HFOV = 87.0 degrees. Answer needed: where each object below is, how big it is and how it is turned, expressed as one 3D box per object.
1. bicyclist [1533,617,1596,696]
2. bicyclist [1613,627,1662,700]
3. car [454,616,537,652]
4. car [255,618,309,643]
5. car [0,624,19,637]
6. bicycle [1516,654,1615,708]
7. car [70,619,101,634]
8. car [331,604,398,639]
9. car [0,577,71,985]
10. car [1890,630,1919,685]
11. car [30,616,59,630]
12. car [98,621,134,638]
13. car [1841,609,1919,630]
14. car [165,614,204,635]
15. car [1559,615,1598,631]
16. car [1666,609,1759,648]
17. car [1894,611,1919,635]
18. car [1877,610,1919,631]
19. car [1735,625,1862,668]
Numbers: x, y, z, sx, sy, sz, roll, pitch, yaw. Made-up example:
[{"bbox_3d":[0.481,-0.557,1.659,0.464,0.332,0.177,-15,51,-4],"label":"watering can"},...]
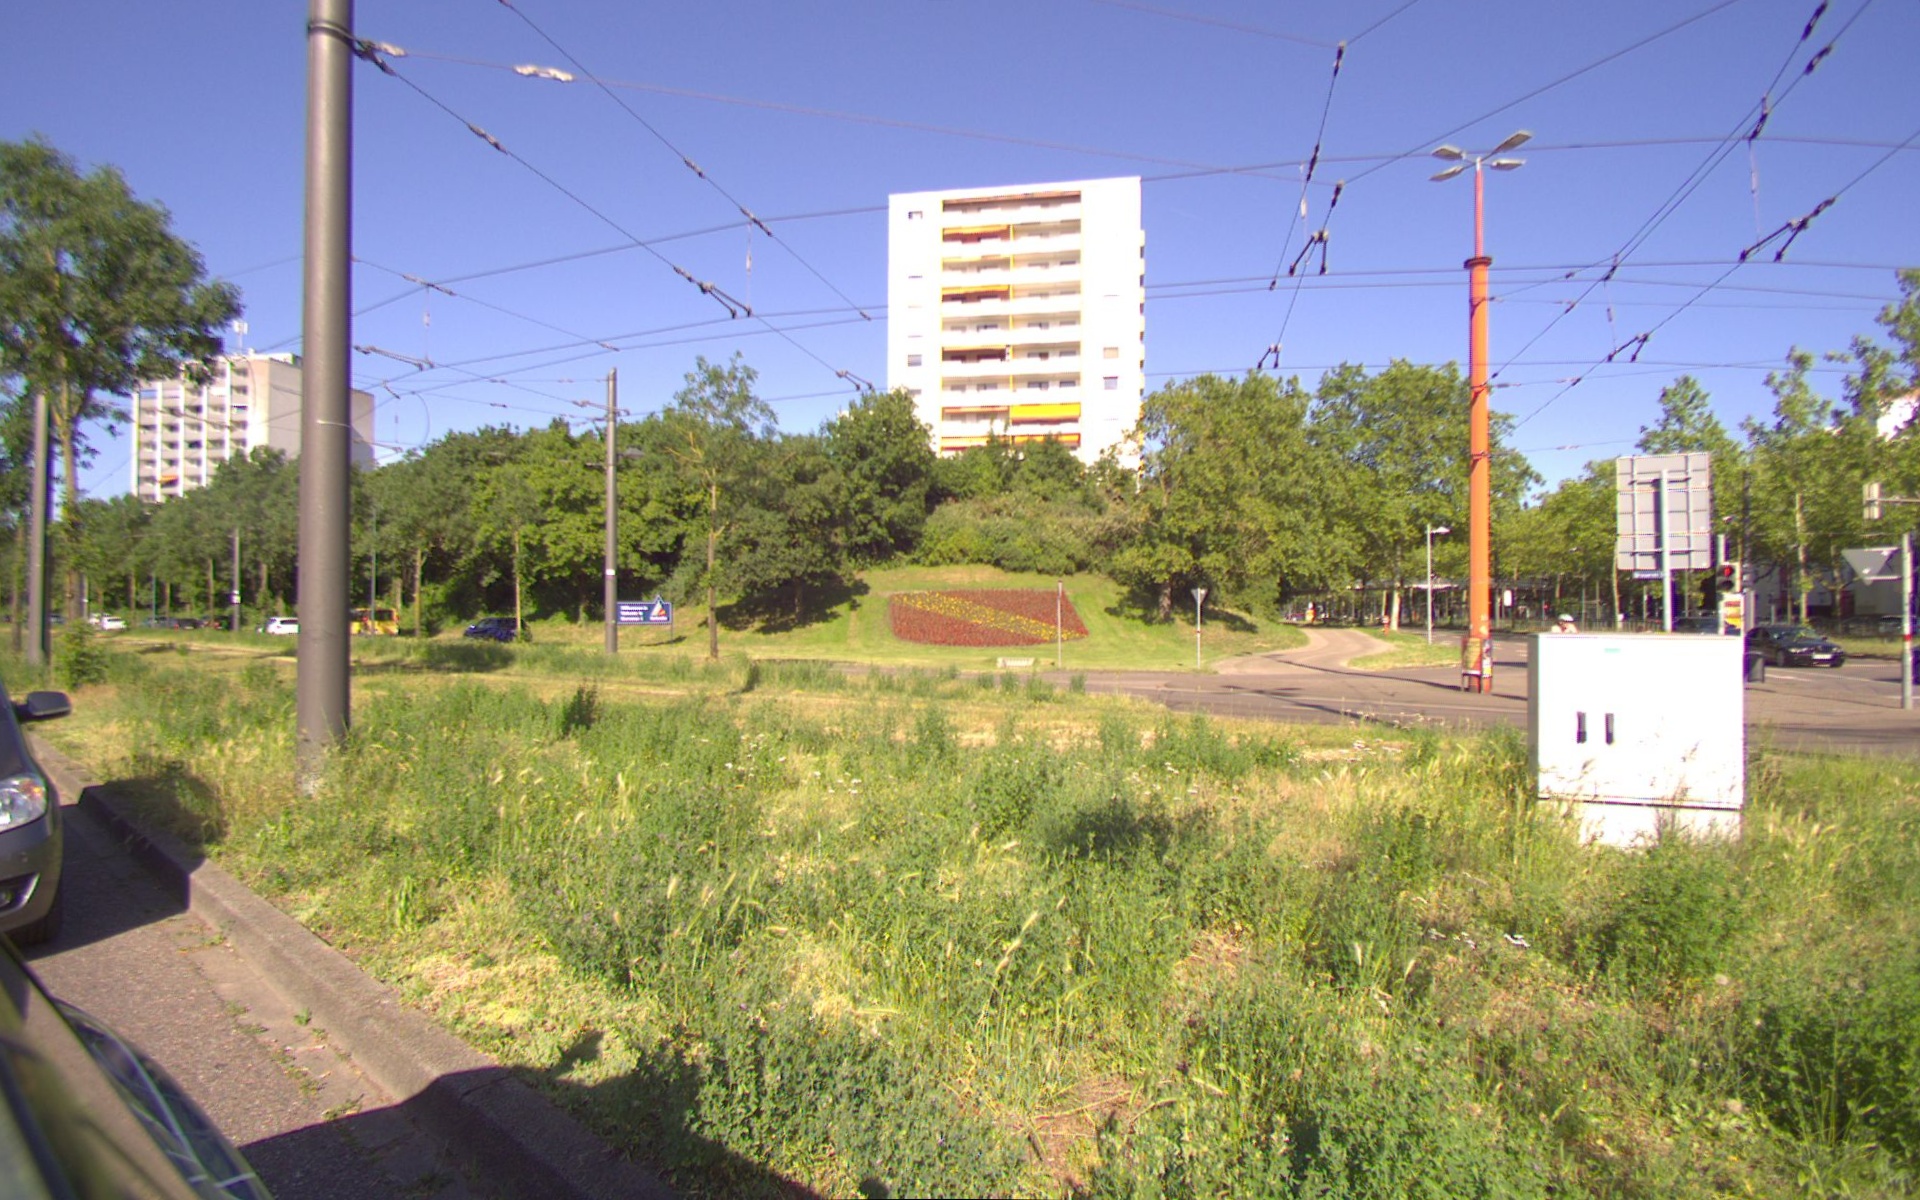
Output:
[{"bbox_3d":[12.163,1.118,20.376,0.719,1.557,0.770,0,-2,-20],"label":"bicyclist"},{"bbox_3d":[13.281,1.236,19.845,0.435,1.391,0.631,0,-2,-20],"label":"bicyclist"},{"bbox_3d":[-21.403,1.546,46.562,4.104,1.586,1.973,-2,-1,41],"label":"car"},{"bbox_3d":[-39.251,1.756,58.568,4.020,1.418,1.671,-1,-2,42],"label":"car"},{"bbox_3d":[-116.280,3.712,123.487,3.998,1.475,1.779,-1,-2,41],"label":"car"},{"bbox_3d":[12.154,1.609,20.369,0.673,0.968,1.650,0,-1,-20],"label":"bicycle"},{"bbox_3d":[-83.952,2.552,97.098,4.229,1.371,1.801,-1,-2,43],"label":"car"},{"bbox_3d":[-34.928,1.289,59.270,4.905,1.981,1.972,-1,-2,42],"label":"car"},{"bbox_3d":[-5.744,0.746,4.844,3.879,1.634,1.737,-1,-2,41],"label":"car"},{"bbox_3d":[24.942,1.421,24.103,1.743,1.360,4.356,0,-1,5],"label":"car"},{"bbox_3d":[-101.628,2.529,112.298,3.998,1.497,1.972,-1,-2,41],"label":"car"},{"bbox_3d":[-72.298,2.487,86.679,4.000,1.429,1.842,-1,-2,43],"label":"car"},{"bbox_3d":[65.863,1.387,72.389,1.770,1.420,4.010,1,-1,-36],"label":"car"},{"bbox_3d":[-56.356,1.780,73.521,1.774,1.427,4.313,0,-1,-44],"label":"car"},{"bbox_3d":[79.712,3.006,130.491,3.969,2.029,1.987,-1,-1,20],"label":"car"},{"bbox_3d":[34.626,1.312,46.687,1.833,1.721,4.288,-1,-2,13],"label":"car"},{"bbox_3d":[57.988,1.355,60.543,1.744,1.409,3.972,-1,-1,21],"label":"car"},{"bbox_3d":[64.875,1.408,68.407,1.770,1.420,4.010,1,-1,-36],"label":"car"},{"bbox_3d":[28.396,1.533,34.464,1.750,1.360,4.338,-1,-1,17],"label":"car"}]
